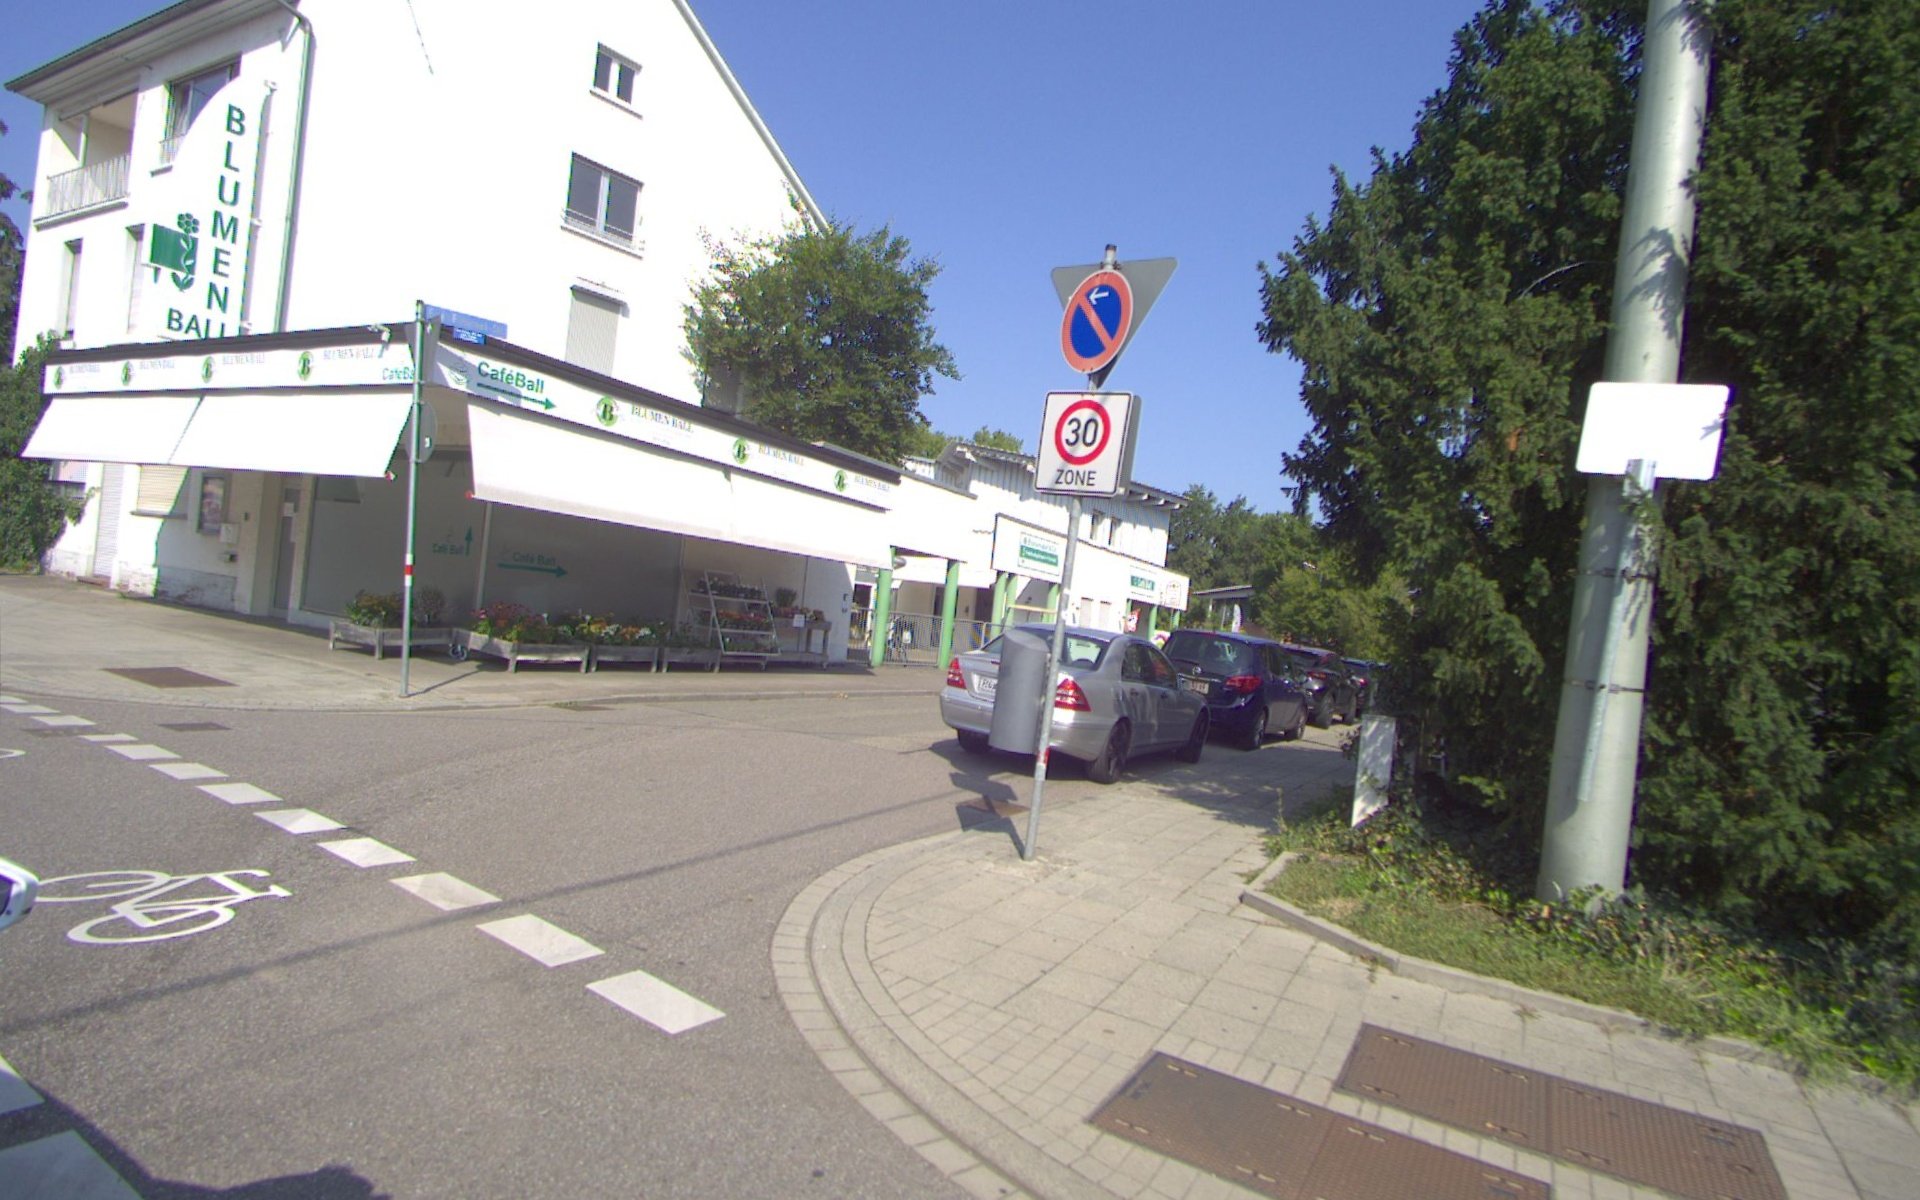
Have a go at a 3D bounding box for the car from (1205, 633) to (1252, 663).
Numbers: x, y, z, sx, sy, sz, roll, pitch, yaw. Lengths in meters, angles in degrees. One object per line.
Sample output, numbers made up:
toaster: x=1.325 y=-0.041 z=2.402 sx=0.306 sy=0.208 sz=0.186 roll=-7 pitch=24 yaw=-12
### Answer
car: x=13.098 y=2.380 z=49.164 sx=1.608 sy=1.222 sz=3.218 roll=6 pitch=-3 yaw=6

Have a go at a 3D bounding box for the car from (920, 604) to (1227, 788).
car: x=1.446 y=0.944 z=10.939 sx=1.634 sy=1.428 sz=4.183 roll=7 pitch=1 yaw=30

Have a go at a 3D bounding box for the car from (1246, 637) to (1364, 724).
car: x=7.377 y=1.667 z=21.323 sx=1.572 sy=1.514 sz=3.582 roll=6 pitch=0 yaw=30

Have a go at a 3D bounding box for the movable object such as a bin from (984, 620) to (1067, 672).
movable object such as a bin: x=1.704 y=1.180 z=25.713 sx=1.199 sy=1.141 sz=2.259 roll=6 pitch=0 yaw=28

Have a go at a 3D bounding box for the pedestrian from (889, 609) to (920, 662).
pedestrian: x=-1.262 y=0.804 z=22.824 sx=0.405 sy=1.139 sz=0.502 roll=7 pitch=2 yaw=32

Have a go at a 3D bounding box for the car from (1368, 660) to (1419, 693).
car: x=16.660 y=2.928 z=38.591 sx=1.142 sy=1.081 sz=2.798 roll=7 pitch=1 yaw=36

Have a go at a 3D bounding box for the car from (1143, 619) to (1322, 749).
car: x=4.301 y=1.193 z=15.476 sx=1.572 sy=1.588 sz=3.819 roll=6 pitch=1 yaw=30
